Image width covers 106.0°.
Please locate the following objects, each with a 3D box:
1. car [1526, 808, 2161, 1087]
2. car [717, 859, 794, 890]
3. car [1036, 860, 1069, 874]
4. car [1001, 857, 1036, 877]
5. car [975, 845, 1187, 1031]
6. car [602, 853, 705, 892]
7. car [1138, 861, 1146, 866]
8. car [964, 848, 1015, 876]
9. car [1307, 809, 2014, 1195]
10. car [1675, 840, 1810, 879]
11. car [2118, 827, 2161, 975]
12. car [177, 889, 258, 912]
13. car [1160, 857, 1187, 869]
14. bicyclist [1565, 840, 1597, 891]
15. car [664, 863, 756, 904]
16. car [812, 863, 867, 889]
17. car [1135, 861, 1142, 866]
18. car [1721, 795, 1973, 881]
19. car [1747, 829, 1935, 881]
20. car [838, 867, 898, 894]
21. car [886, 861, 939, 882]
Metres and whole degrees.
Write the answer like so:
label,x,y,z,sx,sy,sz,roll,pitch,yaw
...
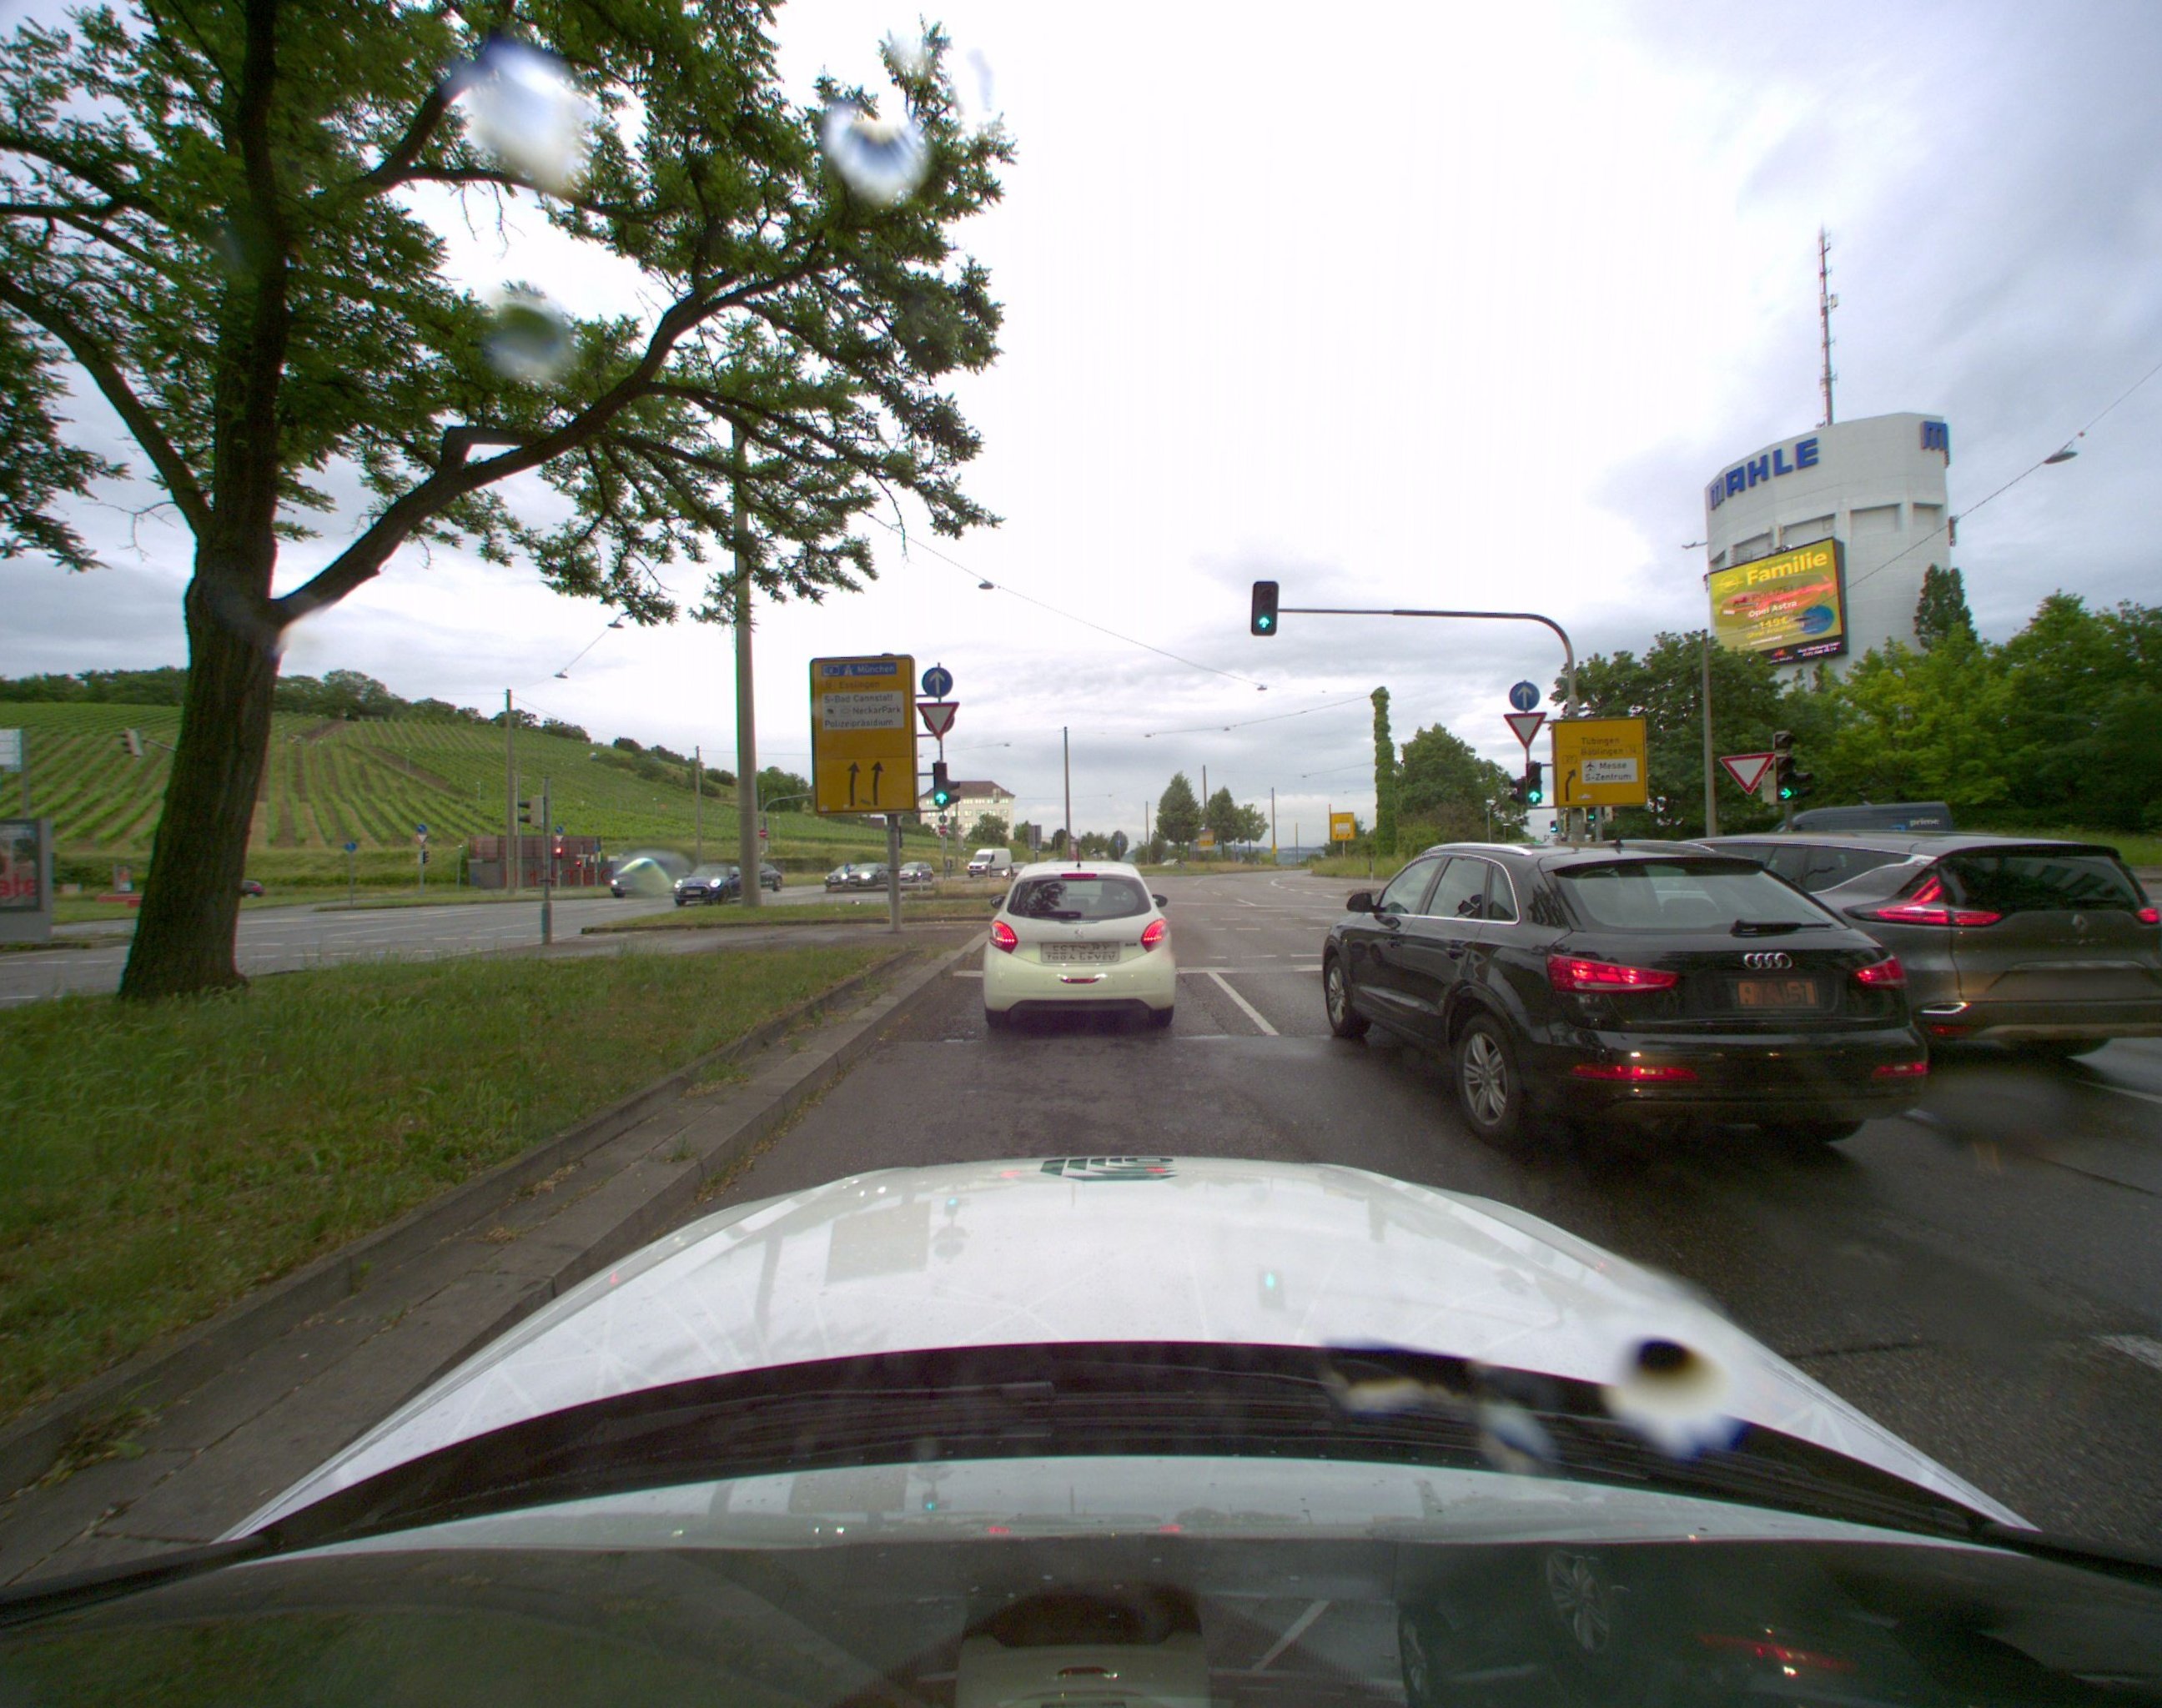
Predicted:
label,x,y,z,sx,sy,sz,roll,pitch,yaw
car,6.122,0.545,7.236,1.859,1.674,4.565,-1,0,0
car,-15.964,0.969,40.204,1.818,1.362,4.669,-1,0,1
car,-3.129,1.392,89.974,1.975,1.513,4.256,0,-1,25
car,-4.713,1.011,61.887,1.766,1.425,4.381,-2,-1,6
car,0.031,0.702,8.622,1.712,1.489,4.000,-1,-1,1
car,-19.088,0.806,36.597,1.820,1.624,4.573,0,-1,6
car,17.684,2.802,236.123,1.836,1.486,3.998,-1,0,-1
car,-8.612,0.731,77.520,1.976,2.559,6.204,0,-1,24
car,2.986,0.637,5.456,1.877,1.595,4.114,0,-1,1
car,28.202,0.255,34.882,4.094,1.564,1.881,-1,-1,22
car,11.064,0.489,6.575,1.847,1.497,4.178,-4,0,30
car,-62.186,3.327,58.746,3.786,1.518,1.839,1,-1,-39
car,12.613,1.244,110.741,1.734,1.513,4.025,0,-1,39
bicyclist,15.904,0.349,25.930,0.801,1.584,1.029,0,-1,28
car,-13.389,1.062,29.635,1.783,1.396,3.875,1,-2,-5
car,-15.668,1.415,53.085,1.815,1.472,4.675,-2,0,5
car,17.290,2.894,244.516,1.836,1.486,3.998,-1,0,-1
car,26.126,-0.448,28.170,5.954,2.741,2.094,-1,-2,27
car,24.206,0.091,26.154,4.012,1.569,1.881,-1,-2,24
car,-12.531,1.518,48.343,1.892,1.489,4.898,0,-1,5
car,-13.062,1.360,63.292,1.976,1.576,4.218,0,-1,23
